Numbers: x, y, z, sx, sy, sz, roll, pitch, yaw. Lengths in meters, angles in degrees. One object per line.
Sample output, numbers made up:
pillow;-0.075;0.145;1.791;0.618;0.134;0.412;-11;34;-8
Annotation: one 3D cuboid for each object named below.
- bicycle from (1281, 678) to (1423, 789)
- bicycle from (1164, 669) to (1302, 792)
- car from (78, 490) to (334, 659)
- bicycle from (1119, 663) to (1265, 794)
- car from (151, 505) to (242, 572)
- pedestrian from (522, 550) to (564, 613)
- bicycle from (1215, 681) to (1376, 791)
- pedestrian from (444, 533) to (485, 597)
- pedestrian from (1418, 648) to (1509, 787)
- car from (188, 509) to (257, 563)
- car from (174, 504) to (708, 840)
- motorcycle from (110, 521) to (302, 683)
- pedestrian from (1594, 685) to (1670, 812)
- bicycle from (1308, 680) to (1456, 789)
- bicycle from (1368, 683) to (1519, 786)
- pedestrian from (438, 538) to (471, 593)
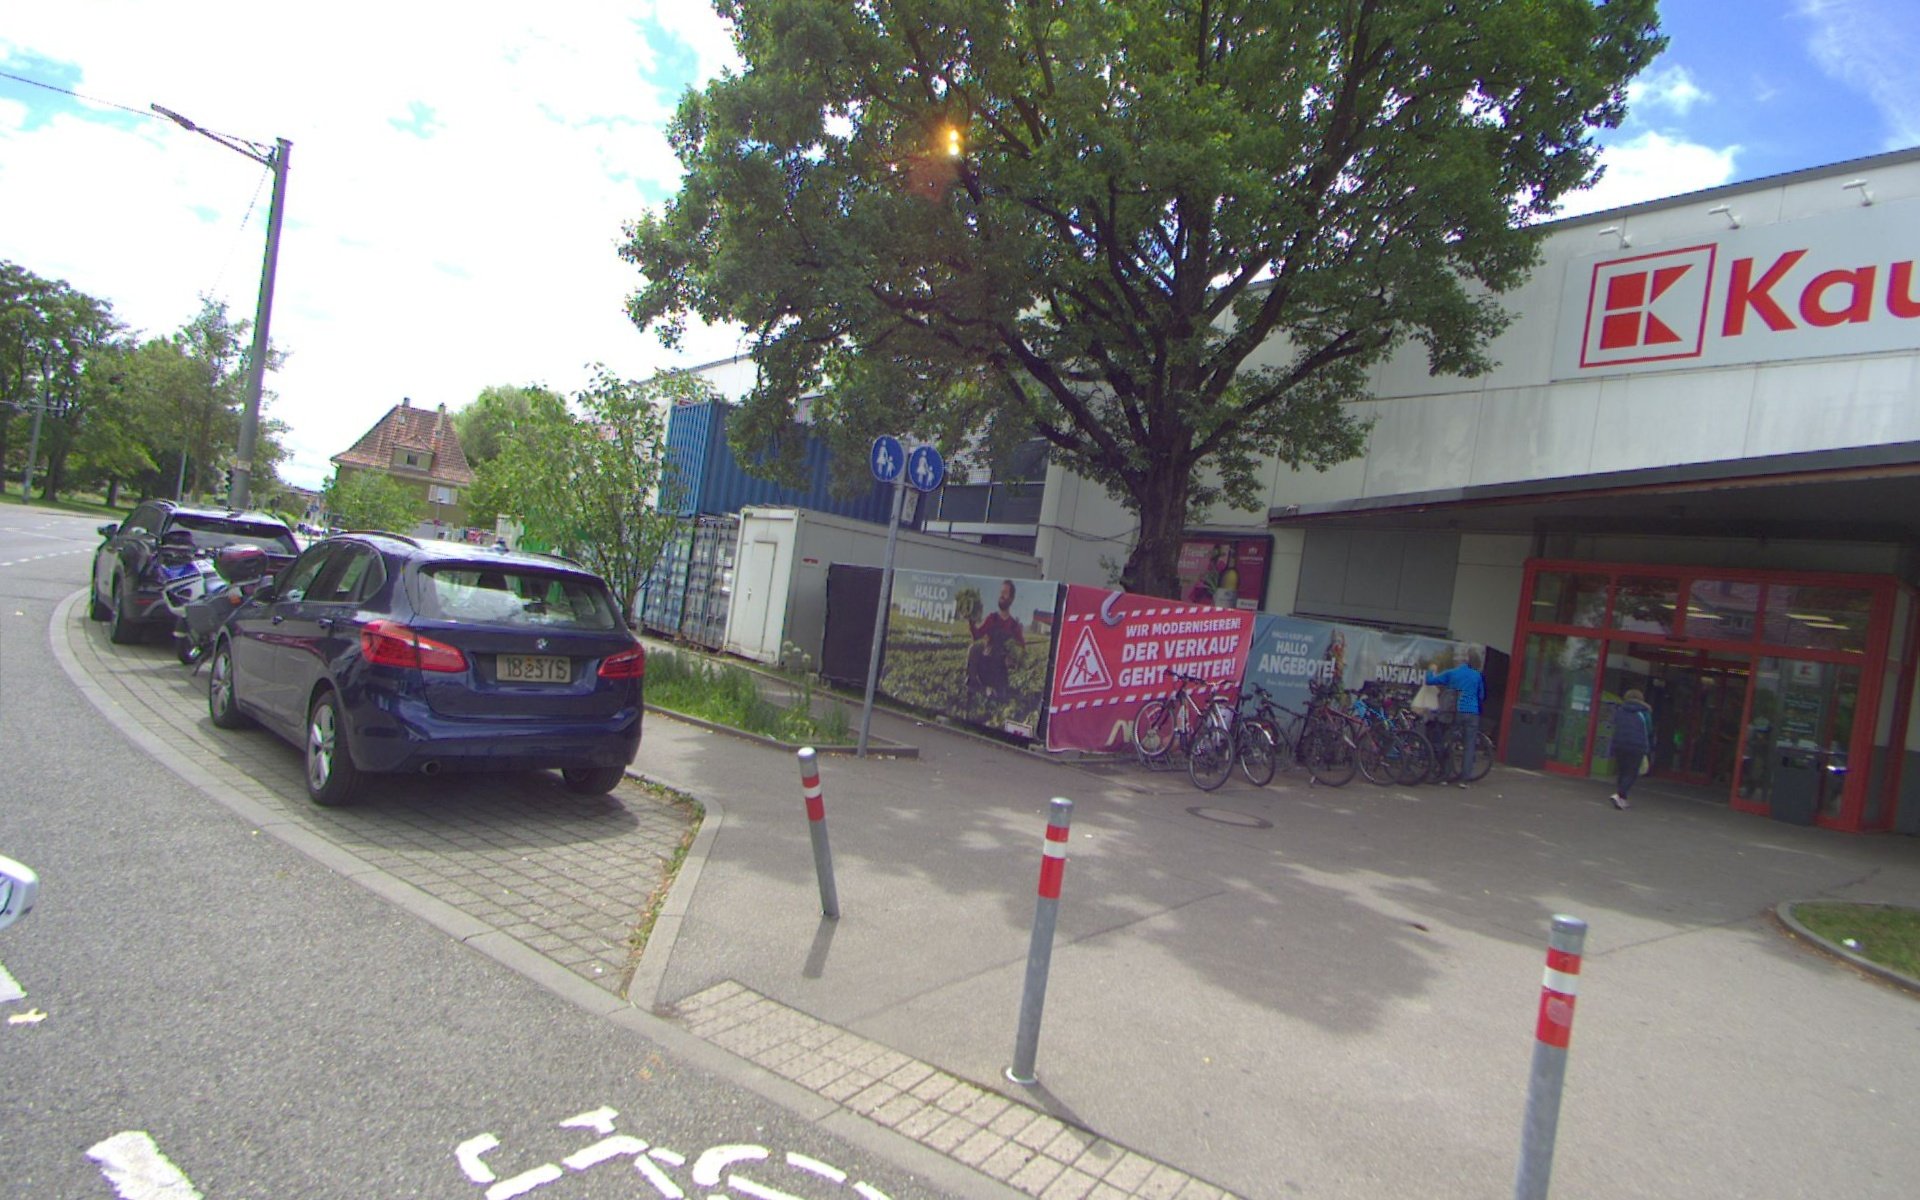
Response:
bicycle;5.128;1.725;13.257;0.422;1.169;1.645;8;-1;-35
bicycle;3.213;1.510;12.011;0.494;1.169;1.764;8;-1;-21
car;-9.665;-0.405;12.717;1.873;1.642;4.785;7;0;-45
bicycle;2.552;1.397;11.288;0.446;1.169;1.780;8;-1;-25
car;-20.618;-1.678;27.263;1.754;1.496;4.886;5;1;-37
pedestrian;-11.671;-0.533;28.172;0.739;1.637;0.759;8;0;-38
bicycle;4.161;1.665;12.589;0.518;1.053;1.779;7;0;-42
pedestrian;-14.059;-0.990;28.537;0.649;1.716;0.715;8;0;-44
pedestrian;6.872;1.598;13.752;0.618;1.779;0.742;5;1;-32
car;-26.379;-2.304;36.086;1.725;1.637;4.346;5;0;-34
car;-3.922;0.300;7.194;4.369;1.598;1.913;7;0;43
motorcycle;-7.363;-0.009;9.776;2.230;1.322;1.068;7;2;43
pedestrian;8.939;1.978;13.384;0.621;1.585;0.490;8;0;-35
bicycle;5.679;1.796;13.637;0.436;1.169;1.749;8;-1;-37
bicycle;7.101;1.955;14.873;0.525;1.169;1.897;8;-1;-32
pedestrian;-16.742;-1.148;33.338;0.648;1.717;0.836;8;0;-37
